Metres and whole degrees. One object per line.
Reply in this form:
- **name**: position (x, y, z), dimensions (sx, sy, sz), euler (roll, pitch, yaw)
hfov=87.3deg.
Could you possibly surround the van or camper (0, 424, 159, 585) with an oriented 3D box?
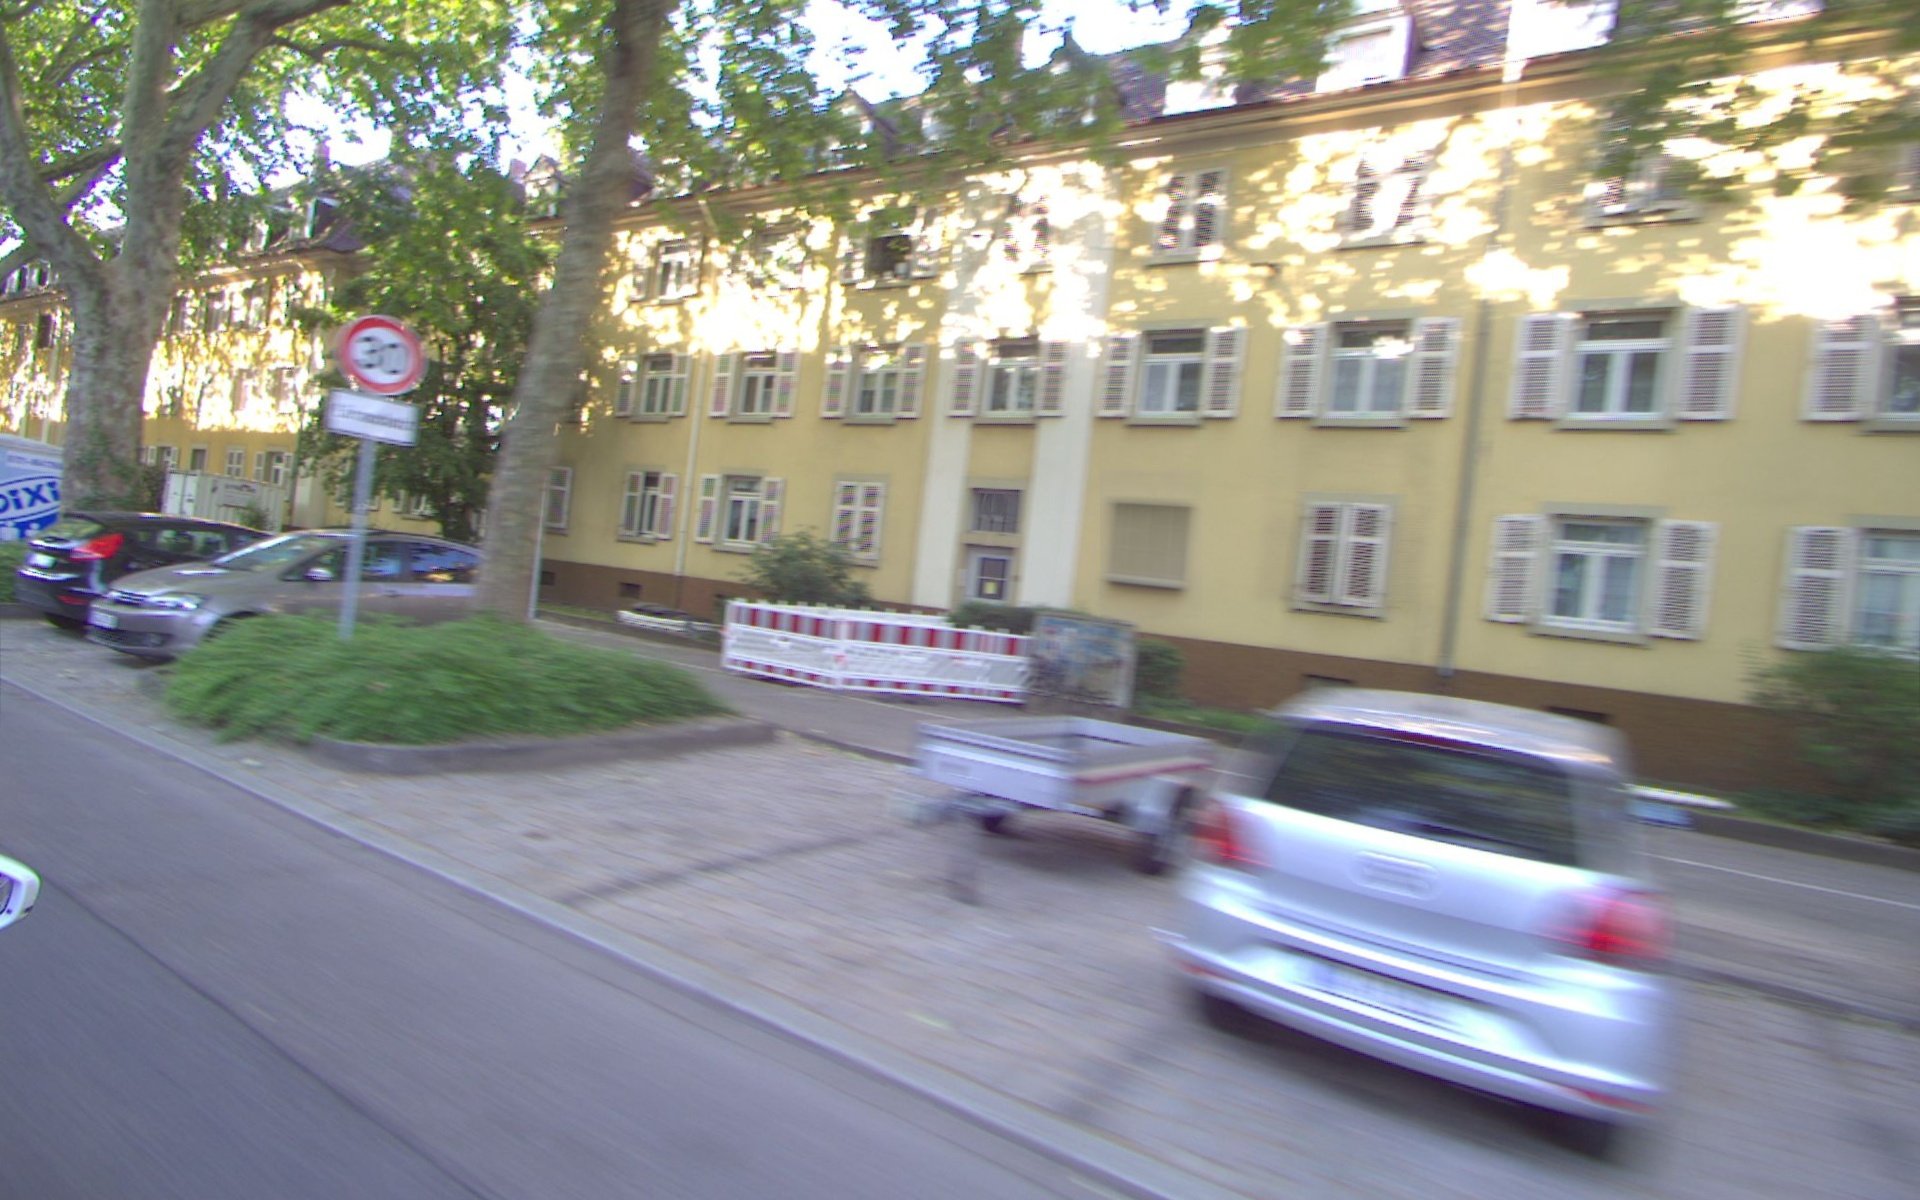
- **van or camper**: position (-18.362, -1.928, 17.884), dimensions (2.234, 2.661, 5.930), euler (6, -1, 34)

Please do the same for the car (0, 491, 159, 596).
- **car**: position (-15.993, -1.056, 16.585), dimensions (1.833, 1.508, 3.909), euler (7, 0, 33)

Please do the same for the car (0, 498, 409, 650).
- **car**: position (-9.064, -0.224, 12.302), dimensions (1.707, 1.445, 3.658), euler (7, 1, 28)

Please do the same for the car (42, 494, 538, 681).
- **car**: position (-7.041, -0.048, 11.036), dimensions (1.800, 1.569, 4.080), euler (7, 0, 31)

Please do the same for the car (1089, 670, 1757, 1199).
- **car**: position (2.308, 1.183, 4.812), dimensions (1.835, 1.442, 3.653), euler (8, 1, 33)

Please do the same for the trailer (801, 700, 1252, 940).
- **trailer**: position (0.600, 1.241, 6.573), dimensions (1.415, 0.915, 3.037), euler (7, 1, 38)
